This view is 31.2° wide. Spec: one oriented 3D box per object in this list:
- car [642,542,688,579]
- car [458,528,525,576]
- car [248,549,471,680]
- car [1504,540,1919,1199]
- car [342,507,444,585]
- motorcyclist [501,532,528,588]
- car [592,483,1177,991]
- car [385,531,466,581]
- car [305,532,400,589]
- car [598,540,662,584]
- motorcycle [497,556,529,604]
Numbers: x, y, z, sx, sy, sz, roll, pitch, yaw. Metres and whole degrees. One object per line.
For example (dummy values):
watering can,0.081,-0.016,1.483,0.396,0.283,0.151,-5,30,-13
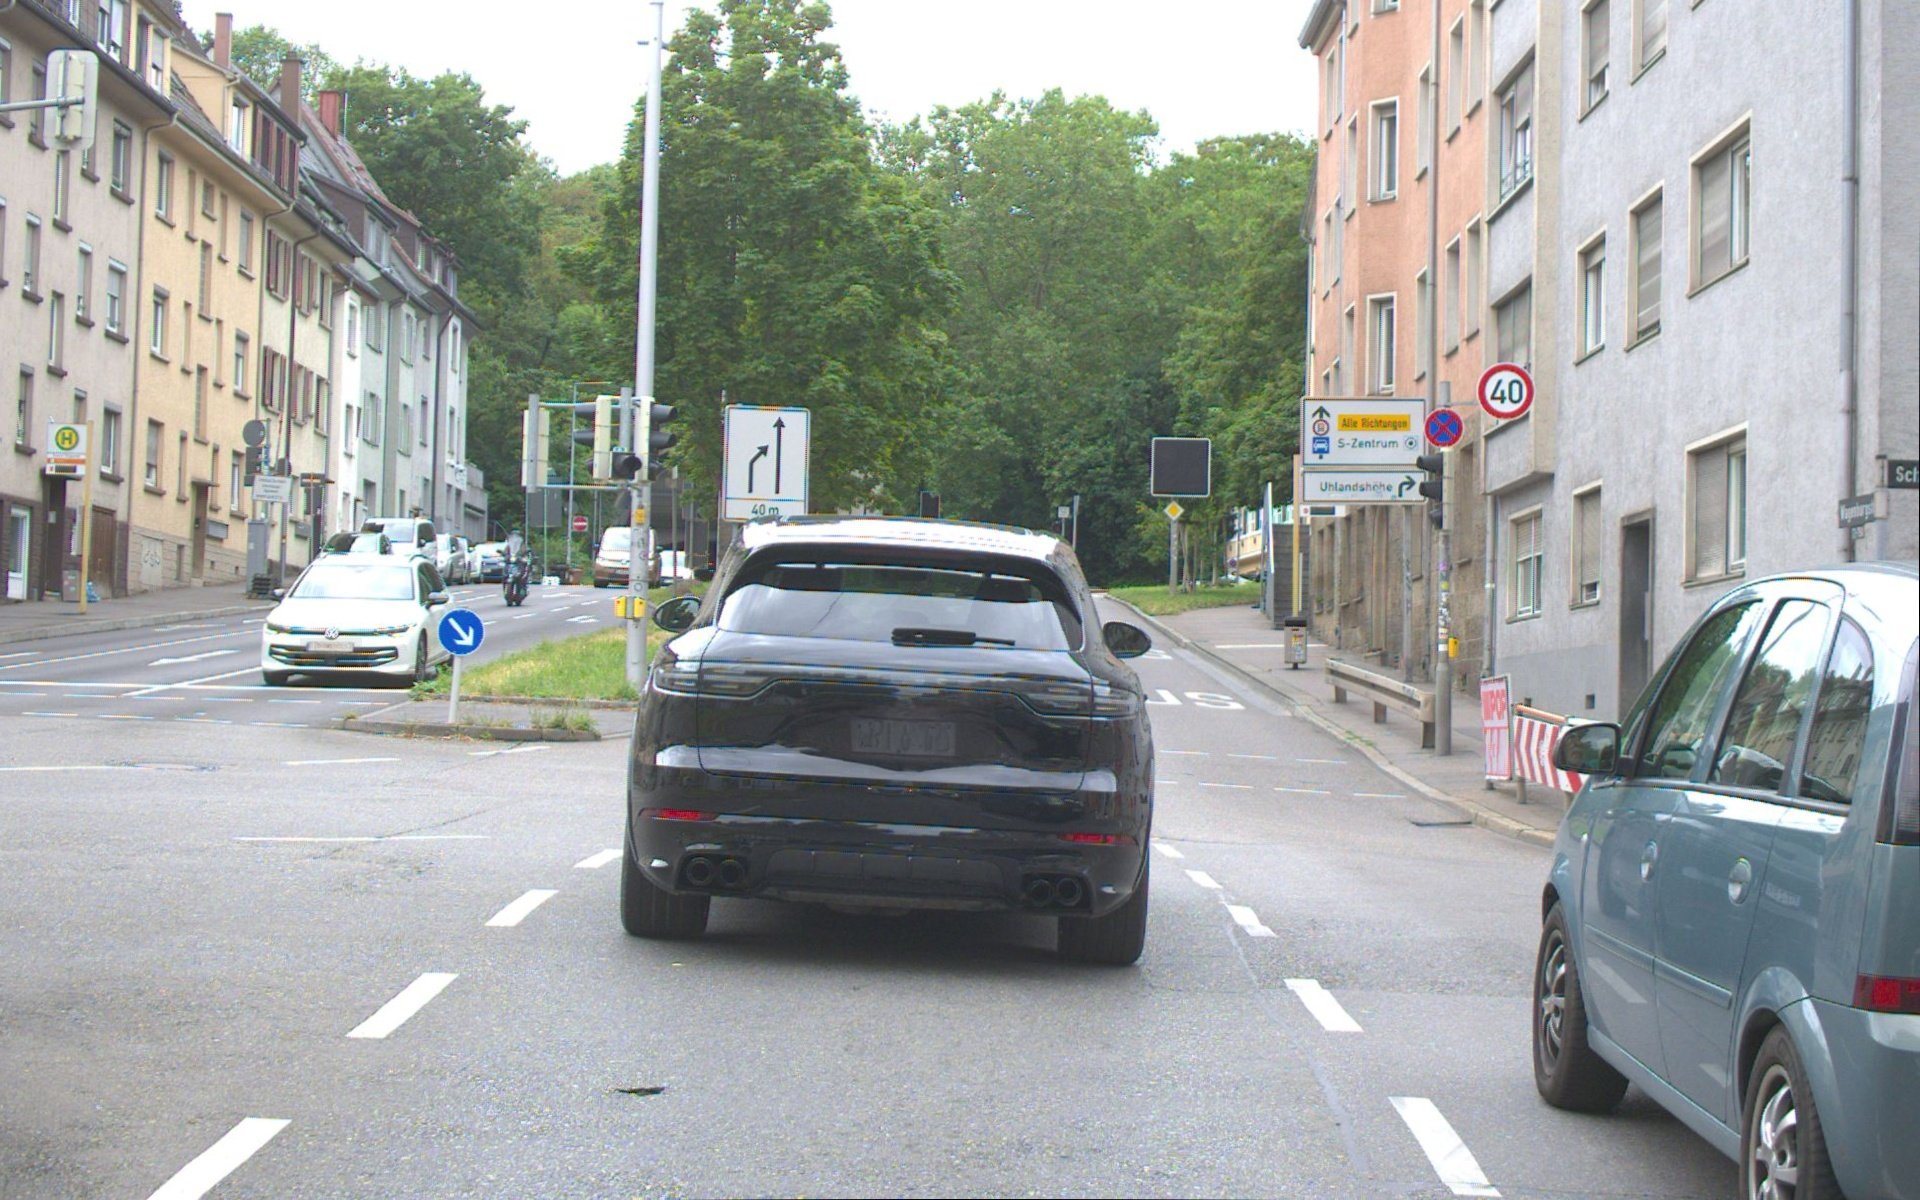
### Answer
car,-11.314,-1.511,132.109,1.489,1.371,3.244,1,1,0
car,-15.509,-1.599,113.988,1.689,1.533,3.814,1,1,0
car,-6.882,0.129,39.768,1.862,1.383,4.095,1,1,0
car,2.468,0.688,8.257,1.628,1.592,3.669,2,1,-1
car,-15.440,-1.480,93.869,2.016,2.038,4.667,1,1,0
motorcyclist,-9.865,-0.883,76.089,0.511,1.222,0.467,1,1,0
car,-0.291,0.472,14.010,1.955,1.669,4.000,3,0,-1
car,-15.398,-1.283,99.234,1.739,1.382,3.814,1,1,0
car,-15.491,-1.021,87.826,1.739,1.382,3.814,1,1,0
car,-9.727,-1.134,101.471,1.551,1.253,3.663,1,1,0
motorcycle,-9.876,-0.443,76.047,0.511,1.037,1.389,1,1,0
